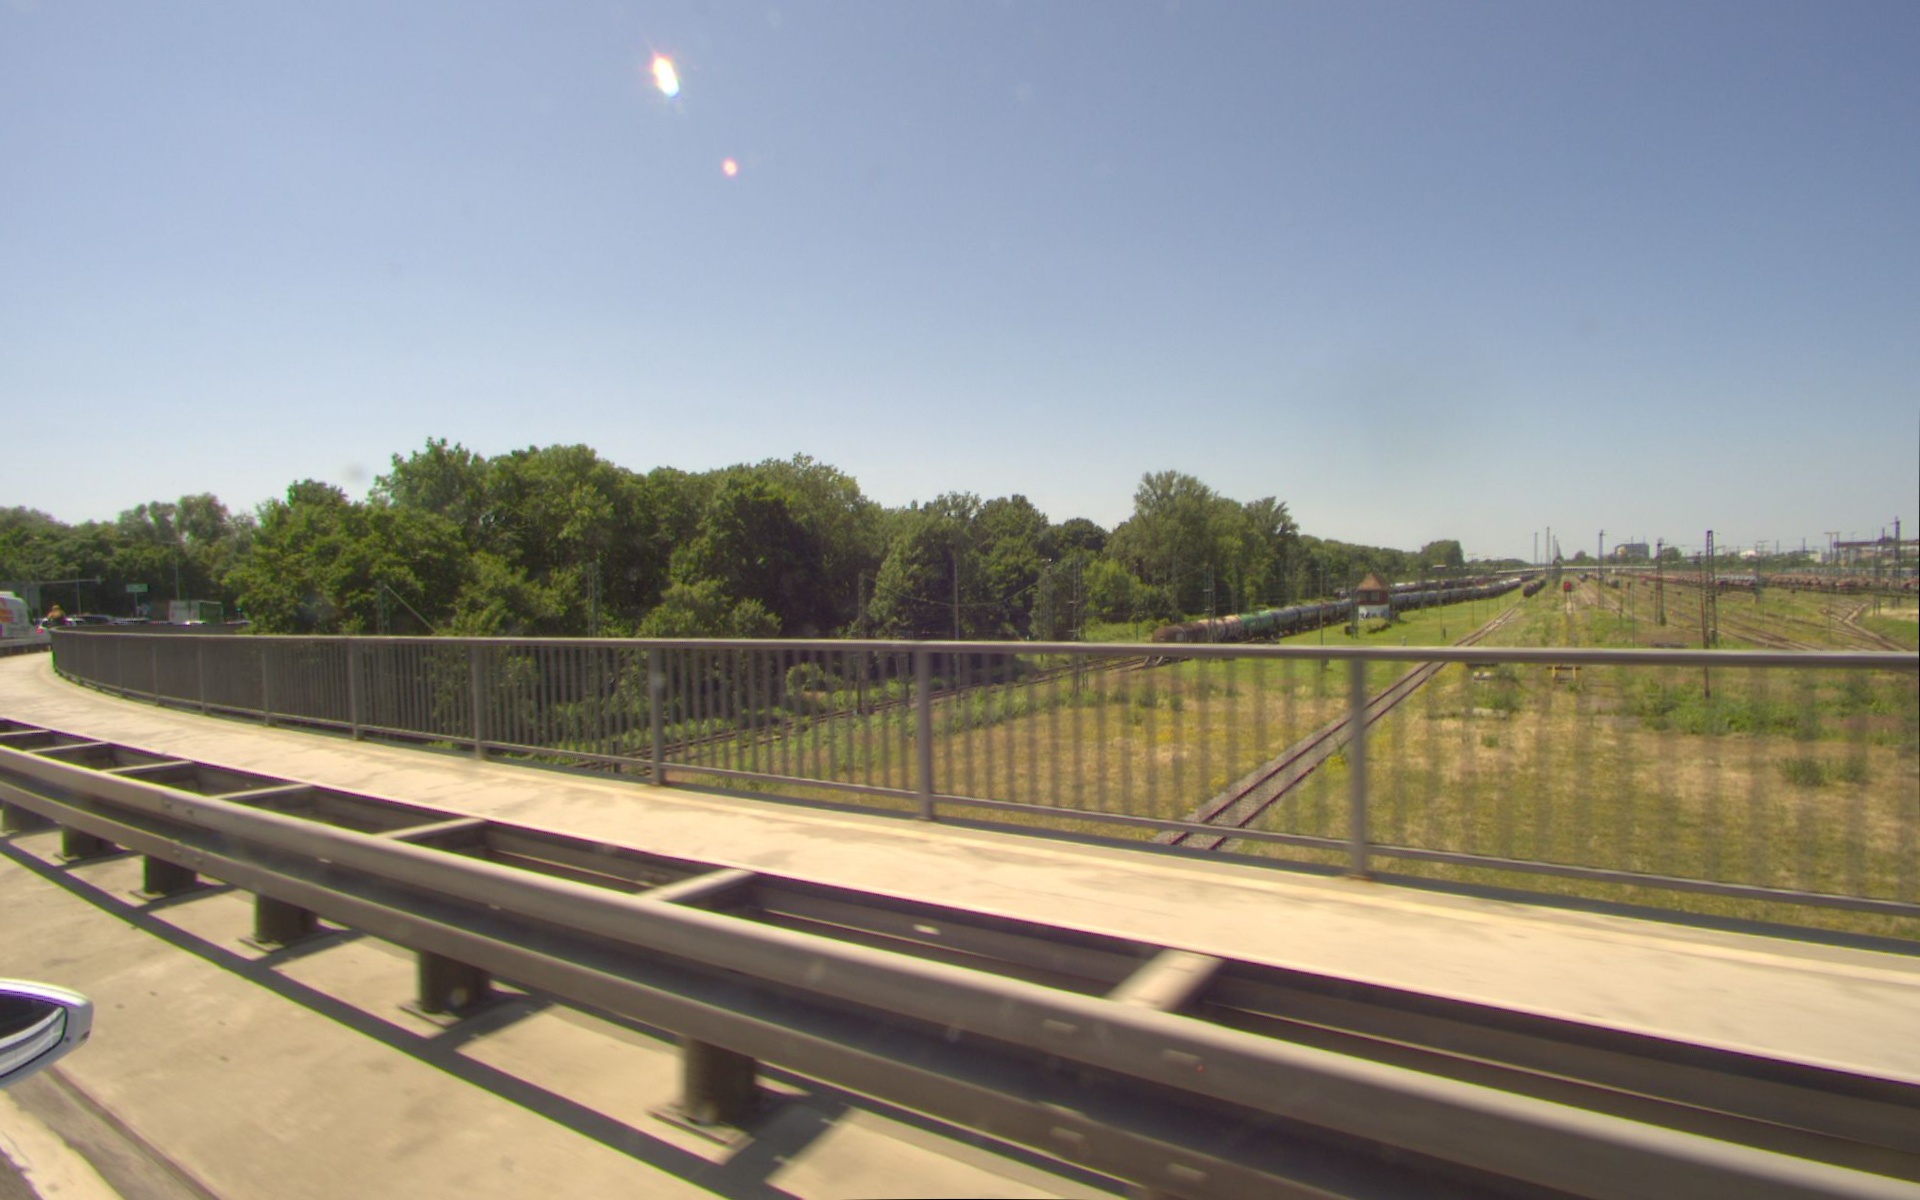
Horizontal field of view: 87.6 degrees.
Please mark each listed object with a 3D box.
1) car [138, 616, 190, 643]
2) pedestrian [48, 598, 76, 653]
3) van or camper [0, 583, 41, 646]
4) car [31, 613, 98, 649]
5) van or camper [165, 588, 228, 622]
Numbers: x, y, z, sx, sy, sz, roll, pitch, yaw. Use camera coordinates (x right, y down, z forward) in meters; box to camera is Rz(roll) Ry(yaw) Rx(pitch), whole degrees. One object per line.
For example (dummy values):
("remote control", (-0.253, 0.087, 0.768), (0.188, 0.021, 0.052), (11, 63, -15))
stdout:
("car", (-57.095, 2.092, 71.875), (1.864, 1.873, 3.989), (0, -2, -23))
("pedestrian", (-33.195, 0.952, 37.017), (0.731, 1.992, 0.729), (0, -1, -39))
("van or camper", (-43.990, 0.648, 45.527), (2.180, 2.746, 5.890), (0, -1, -32))
("car", (-48.873, 1.686, 54.746), (1.867, 1.873, 3.982), (0, -2, -29))
("van or camper", (-64.594, 0.489, 84.841), (2.449, 2.318, 4.958), (5, -6, -16))
